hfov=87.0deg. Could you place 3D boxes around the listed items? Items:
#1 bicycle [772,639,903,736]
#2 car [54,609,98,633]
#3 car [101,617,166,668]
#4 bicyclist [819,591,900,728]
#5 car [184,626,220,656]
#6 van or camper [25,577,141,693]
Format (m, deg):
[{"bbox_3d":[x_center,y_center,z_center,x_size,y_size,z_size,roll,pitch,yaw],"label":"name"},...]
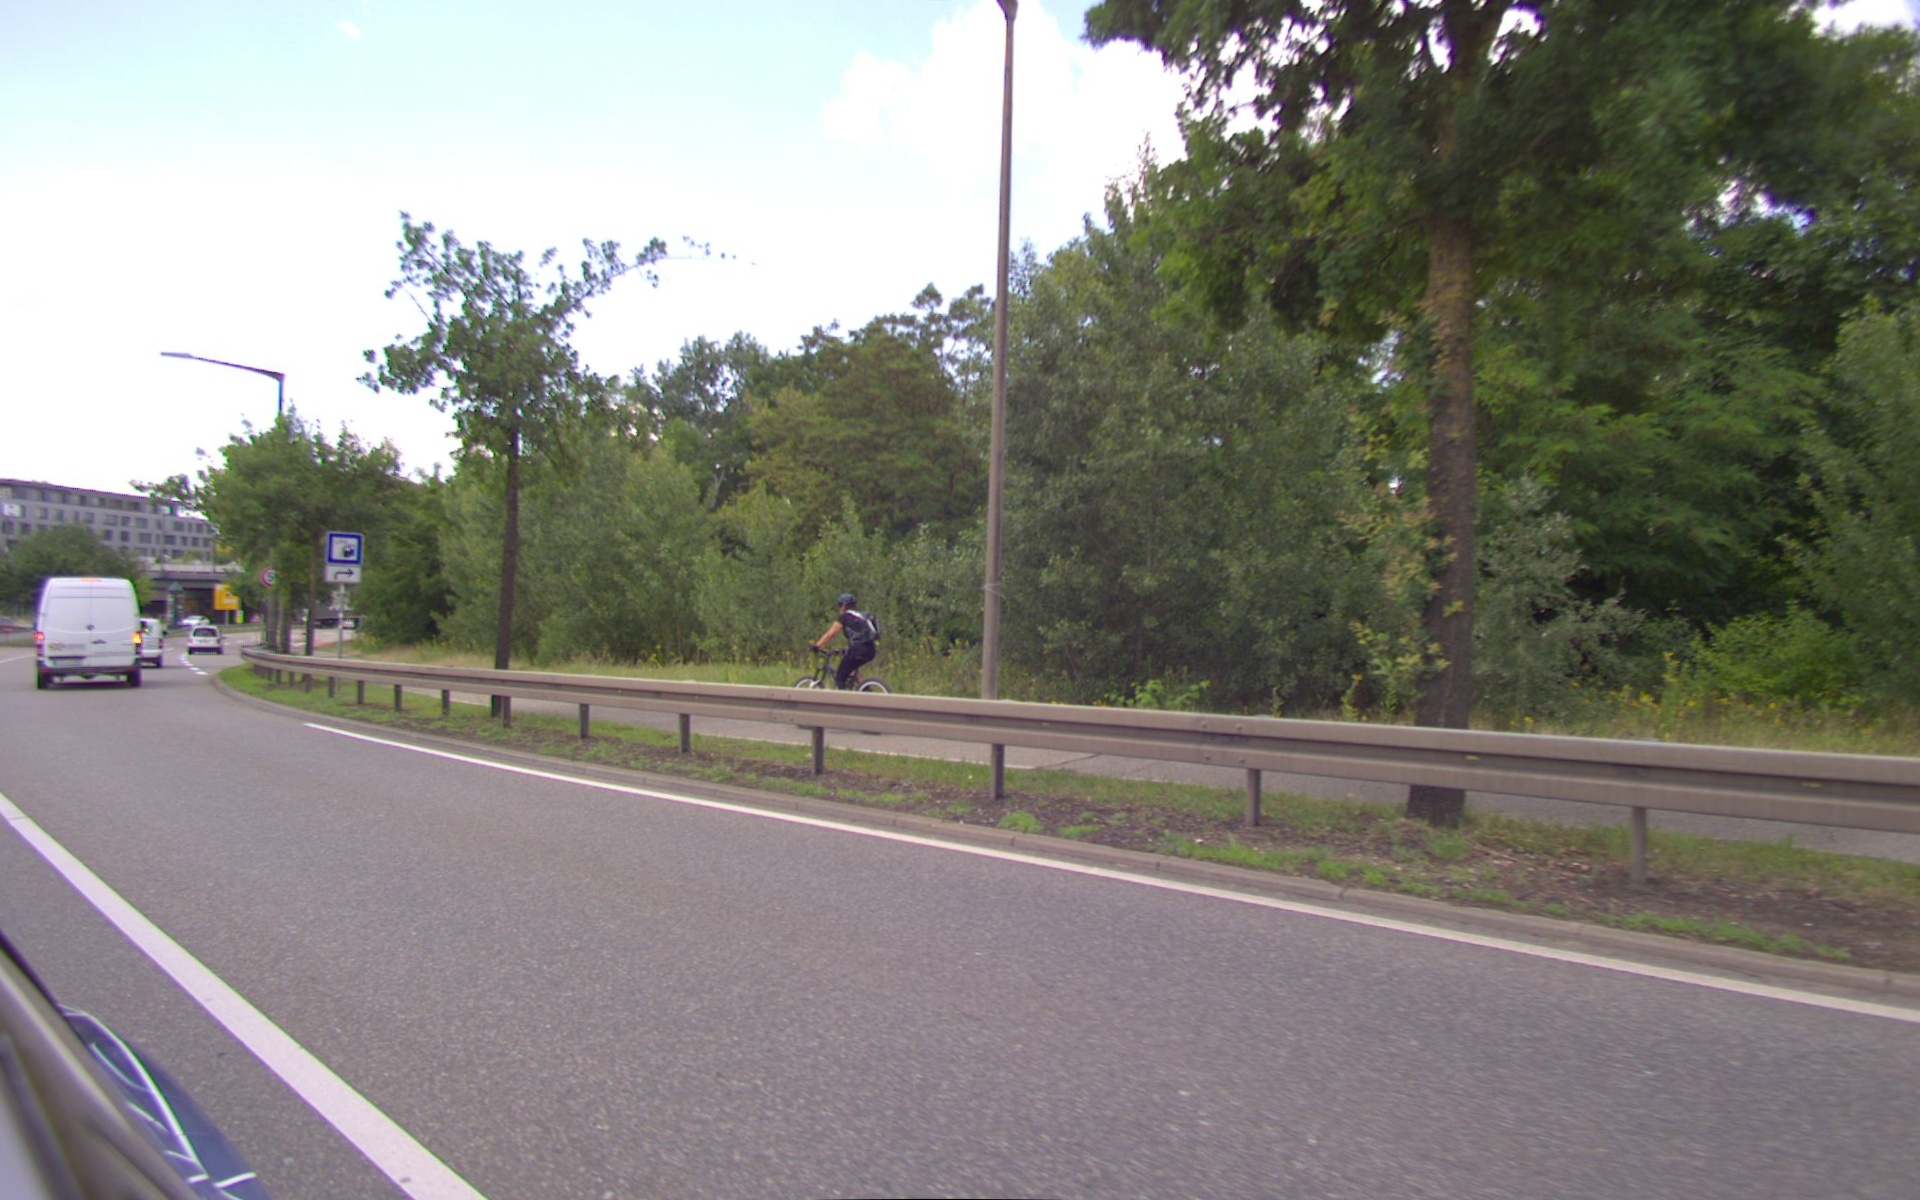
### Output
[{"bbox_3d":[-1.505,1.022,12.265,1.753,1.071,0.551,-1,-2,41],"label":"bicycle"},{"bbox_3d":[-88.108,2.077,100.931,1.965,2.337,4.903,-1,0,-24],"label":"car"},{"bbox_3d":[-32.621,1.652,40.038,1.752,1.881,5.277,2,-3,-37],"label":"car"},{"bbox_3d":[-1.206,0.697,12.069,0.880,1.565,0.479,-1,-3,41],"label":"bicyclist"},{"bbox_3d":[-49.893,2.702,66.591,1.751,1.877,4.134,3,-3,-37],"label":"car"},{"bbox_3d":[-22.239,0.860,25.574,1.970,2.602,5.987,2,-2,-43],"label":"van or camper"}]
